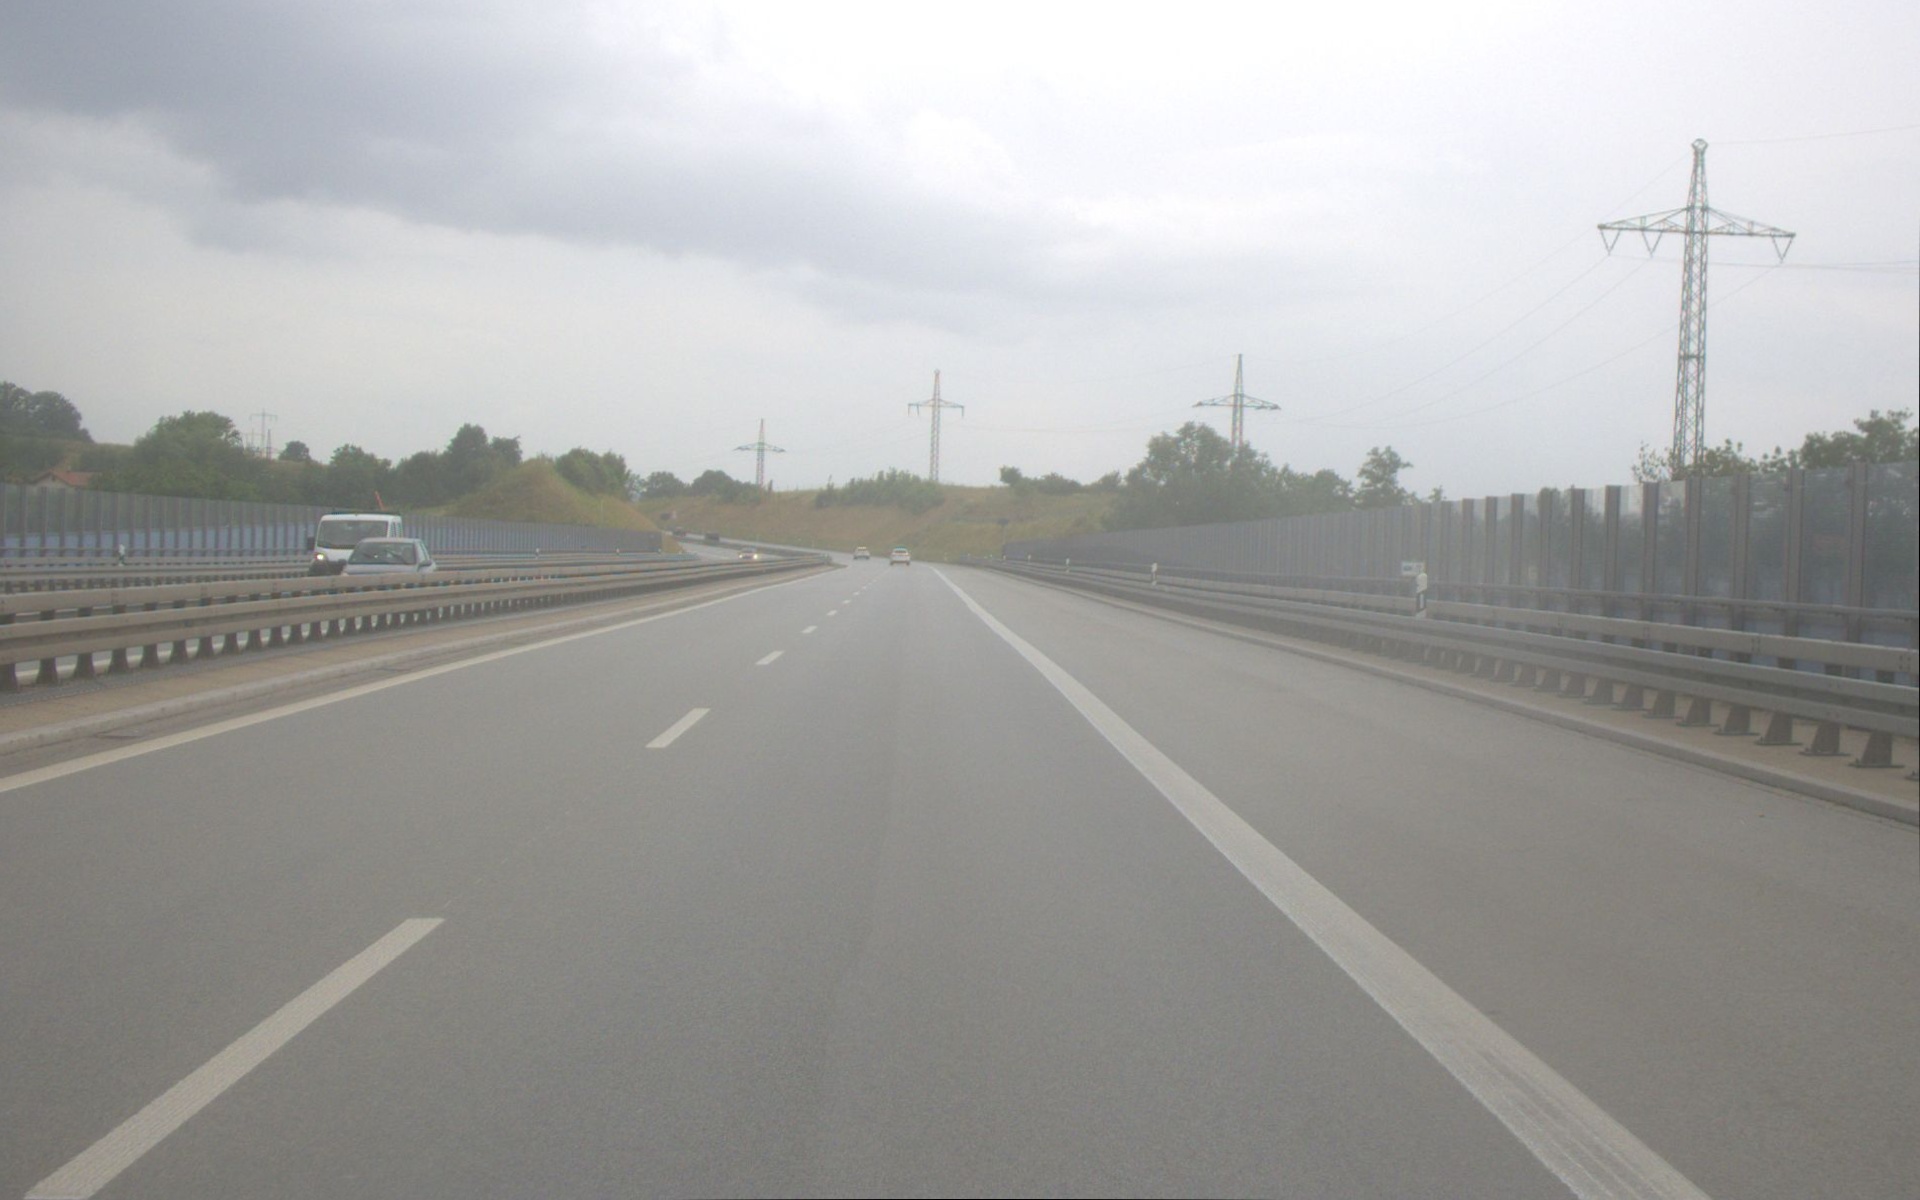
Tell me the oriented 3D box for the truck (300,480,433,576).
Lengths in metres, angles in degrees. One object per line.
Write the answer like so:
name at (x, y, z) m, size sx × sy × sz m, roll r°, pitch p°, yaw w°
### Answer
truck at (-15.669, -1.909, 91.238) m, size 2.272 × 2.423 × 7.452 m, roll 1°, pitch 1°, yaw -1°

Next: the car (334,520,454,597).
car at (-11.351, -0.845, 69.160) m, size 1.754 × 1.486 × 4.000 m, roll 1°, pitch 1°, yaw 0°
